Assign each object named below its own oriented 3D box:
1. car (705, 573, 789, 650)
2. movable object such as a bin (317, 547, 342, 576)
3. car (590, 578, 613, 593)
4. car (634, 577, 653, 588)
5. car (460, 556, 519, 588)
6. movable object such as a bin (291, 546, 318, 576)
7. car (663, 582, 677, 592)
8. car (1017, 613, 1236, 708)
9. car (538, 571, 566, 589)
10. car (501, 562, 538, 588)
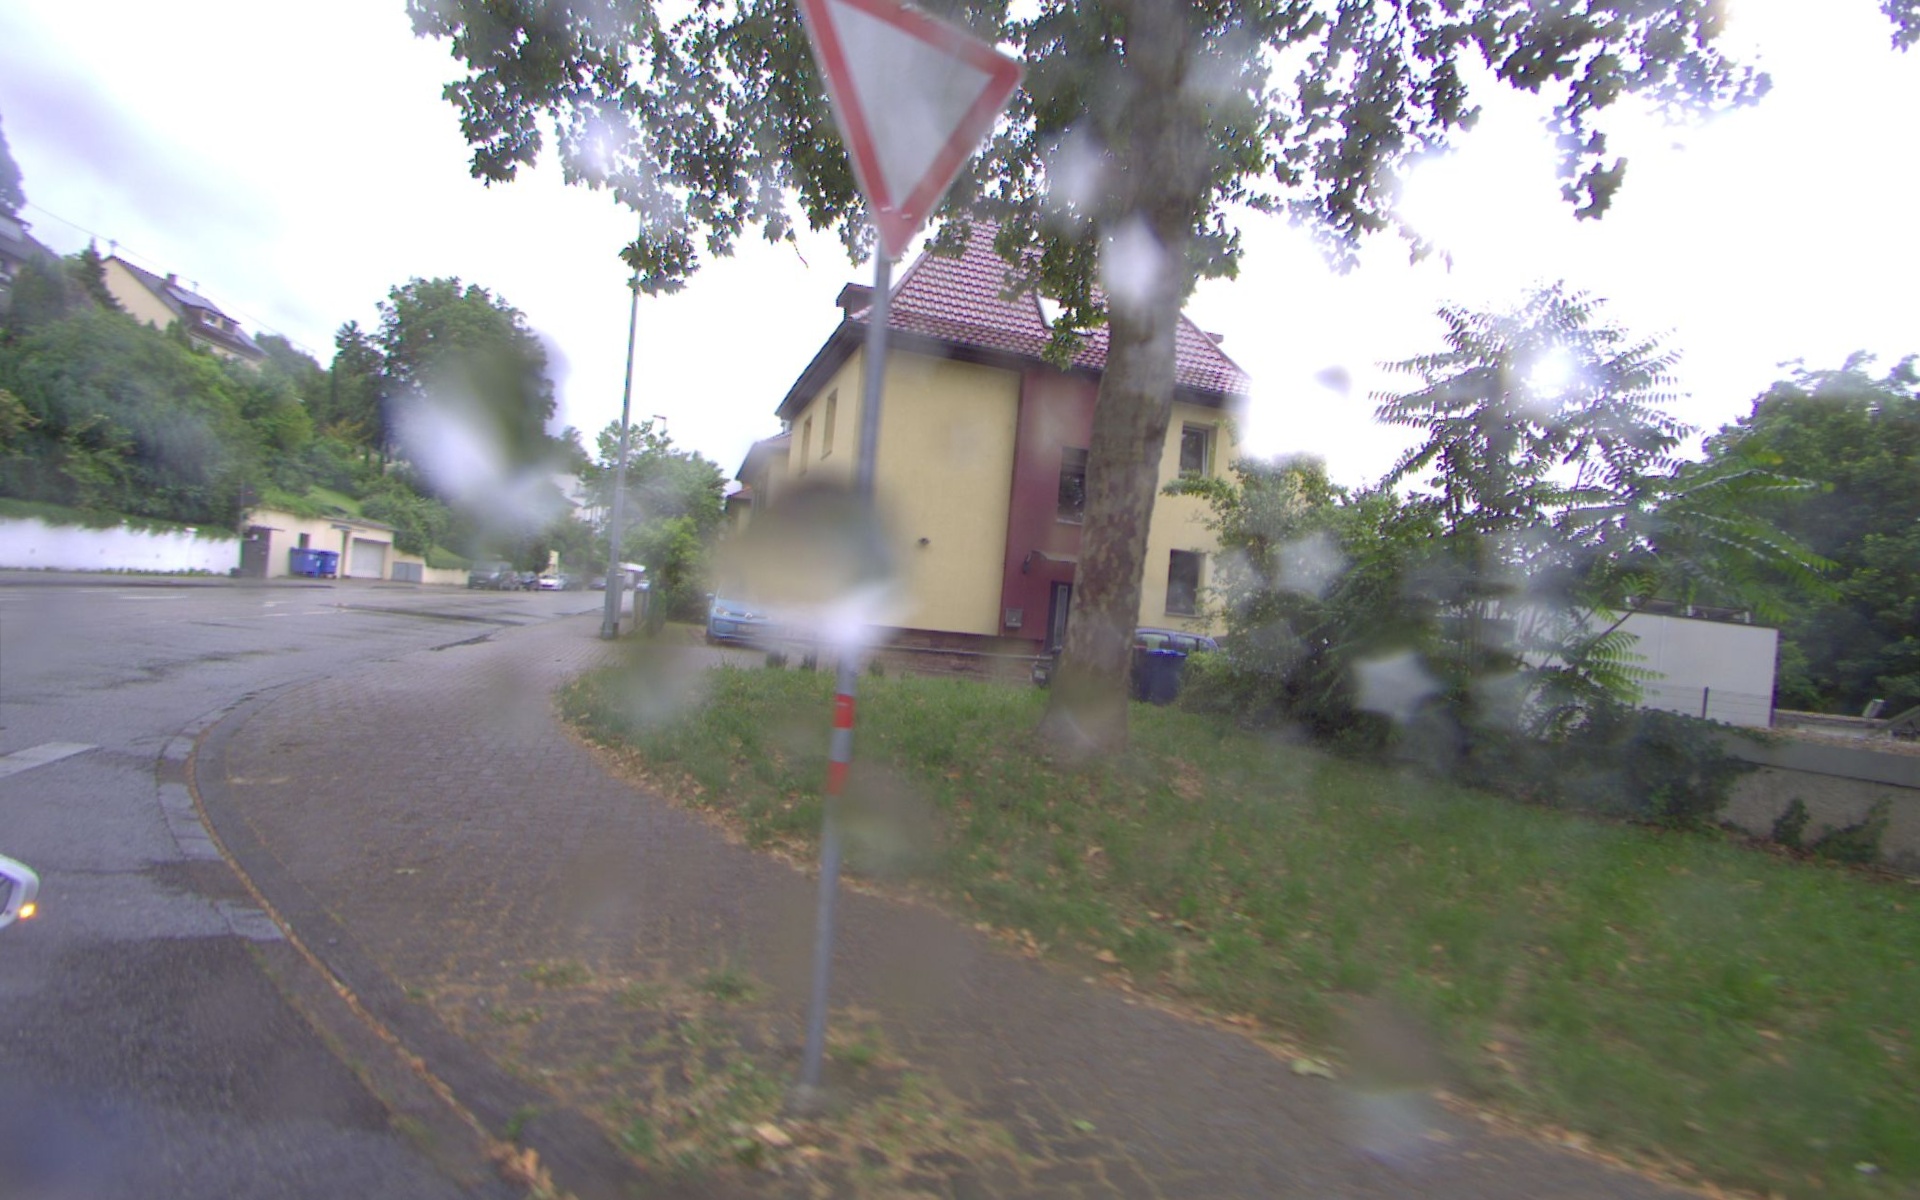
[{"bbox_3d":[-4.899,0.197,22.875,1.624,1.466,3.538,5,1,-14],"label":"car"},{"bbox_3d":[-31.401,-1.912,50.080,0.701,1.353,0.832,5,2,-9],"label":"movable object such as a bin"},{"bbox_3d":[-40.685,-1.633,114.173,1.690,1.571,3.809,5,1,-9],"label":"car"},{"bbox_3d":[-46.163,-2.565,146.756,1.795,1.475,3.810,5,1,-7],"label":"car"},{"bbox_3d":[-30.696,-1.824,65.807,2.265,1.775,5.167,5,1,-12],"label":"car"},{"bbox_3d":[-31.161,-1.827,47.829,0.701,1.353,0.832,5,2,-9],"label":"movable object such as a bin"},{"bbox_3d":[-48.941,-2.260,169.607,1.731,1.475,3.808,5,1,-10],"label":"car"},{"bbox_3d":[2.907,1.064,17.720,3.402,1.315,1.539,5,1,-18],"label":"car"},{"bbox_3d":[-35.289,-1.727,87.128,1.688,1.362,3.668,5,1,-14],"label":"car"},{"bbox_3d":[-33.209,-1.898,75.880,1.794,1.703,3.987,5,1,-14],"label":"car"}]
